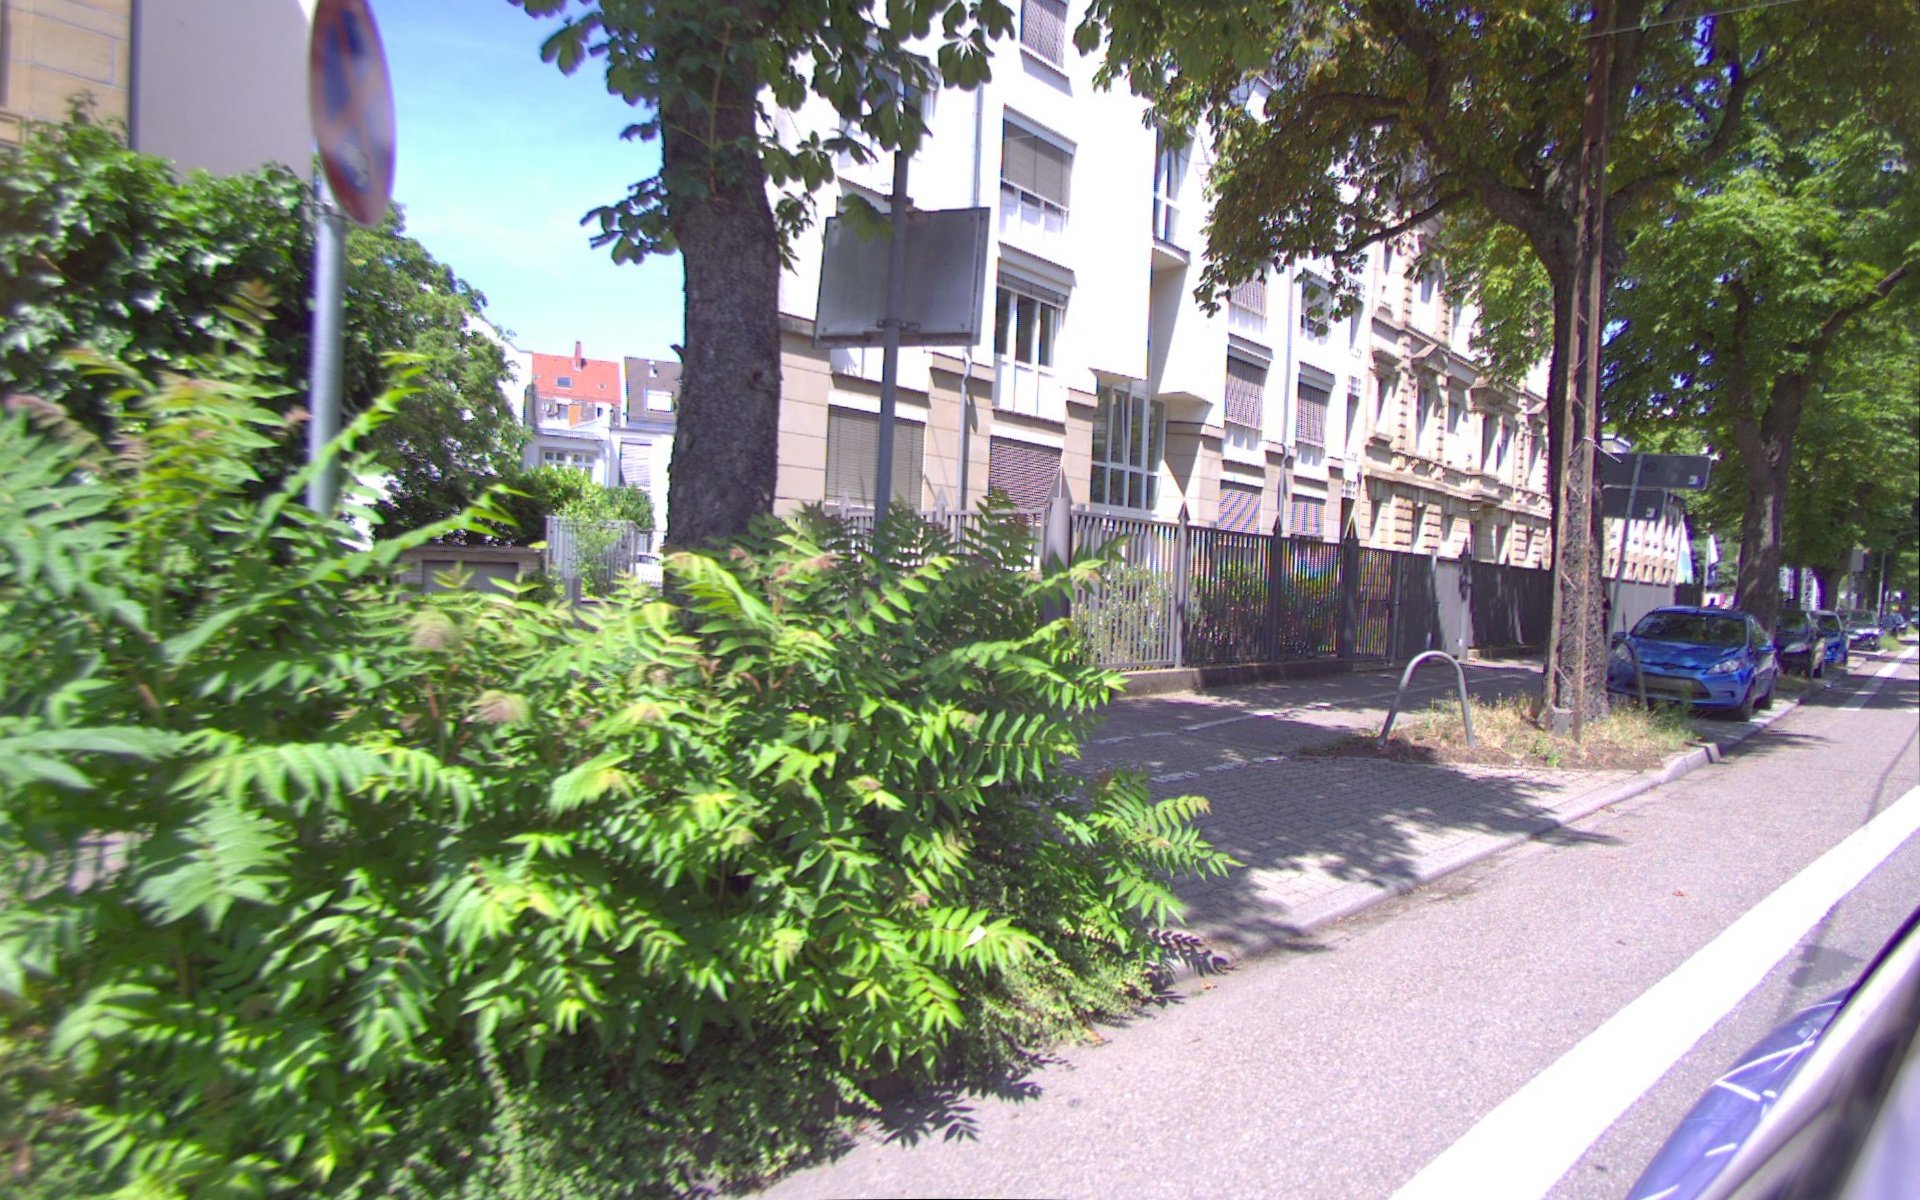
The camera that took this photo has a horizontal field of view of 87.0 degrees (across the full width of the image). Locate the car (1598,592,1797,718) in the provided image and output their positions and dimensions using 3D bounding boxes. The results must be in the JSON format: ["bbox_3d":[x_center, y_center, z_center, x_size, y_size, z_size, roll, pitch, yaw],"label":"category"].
[{"bbox_3d":[10.881,0.685,14.822,3.935,1.479,1.685,0,4,-45],"label":"car"}]

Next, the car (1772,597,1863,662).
[{"bbox_3d":[23.513,0.749,27.698,1.611,1.514,3.526,5,5,44],"label":"car"}]

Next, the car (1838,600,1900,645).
[{"bbox_3d":[36.607,0.894,40.736,1.644,1.616,4.049,5,3,44],"label":"car"}]

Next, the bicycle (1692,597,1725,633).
[{"bbox_3d":[27.132,0.542,36.675,0.687,1.239,2.085,2,2,44],"label":"bicycle"}]

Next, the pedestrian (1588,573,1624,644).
[{"bbox_3d":[15.945,0.206,24.987,0.546,1.713,0.743,4,3,44],"label":"pedestrian"}]

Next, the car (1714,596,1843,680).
[{"bbox_3d":[17.536,0.727,21.627,1.679,1.514,3.856,6,4,45],"label":"car"}]
